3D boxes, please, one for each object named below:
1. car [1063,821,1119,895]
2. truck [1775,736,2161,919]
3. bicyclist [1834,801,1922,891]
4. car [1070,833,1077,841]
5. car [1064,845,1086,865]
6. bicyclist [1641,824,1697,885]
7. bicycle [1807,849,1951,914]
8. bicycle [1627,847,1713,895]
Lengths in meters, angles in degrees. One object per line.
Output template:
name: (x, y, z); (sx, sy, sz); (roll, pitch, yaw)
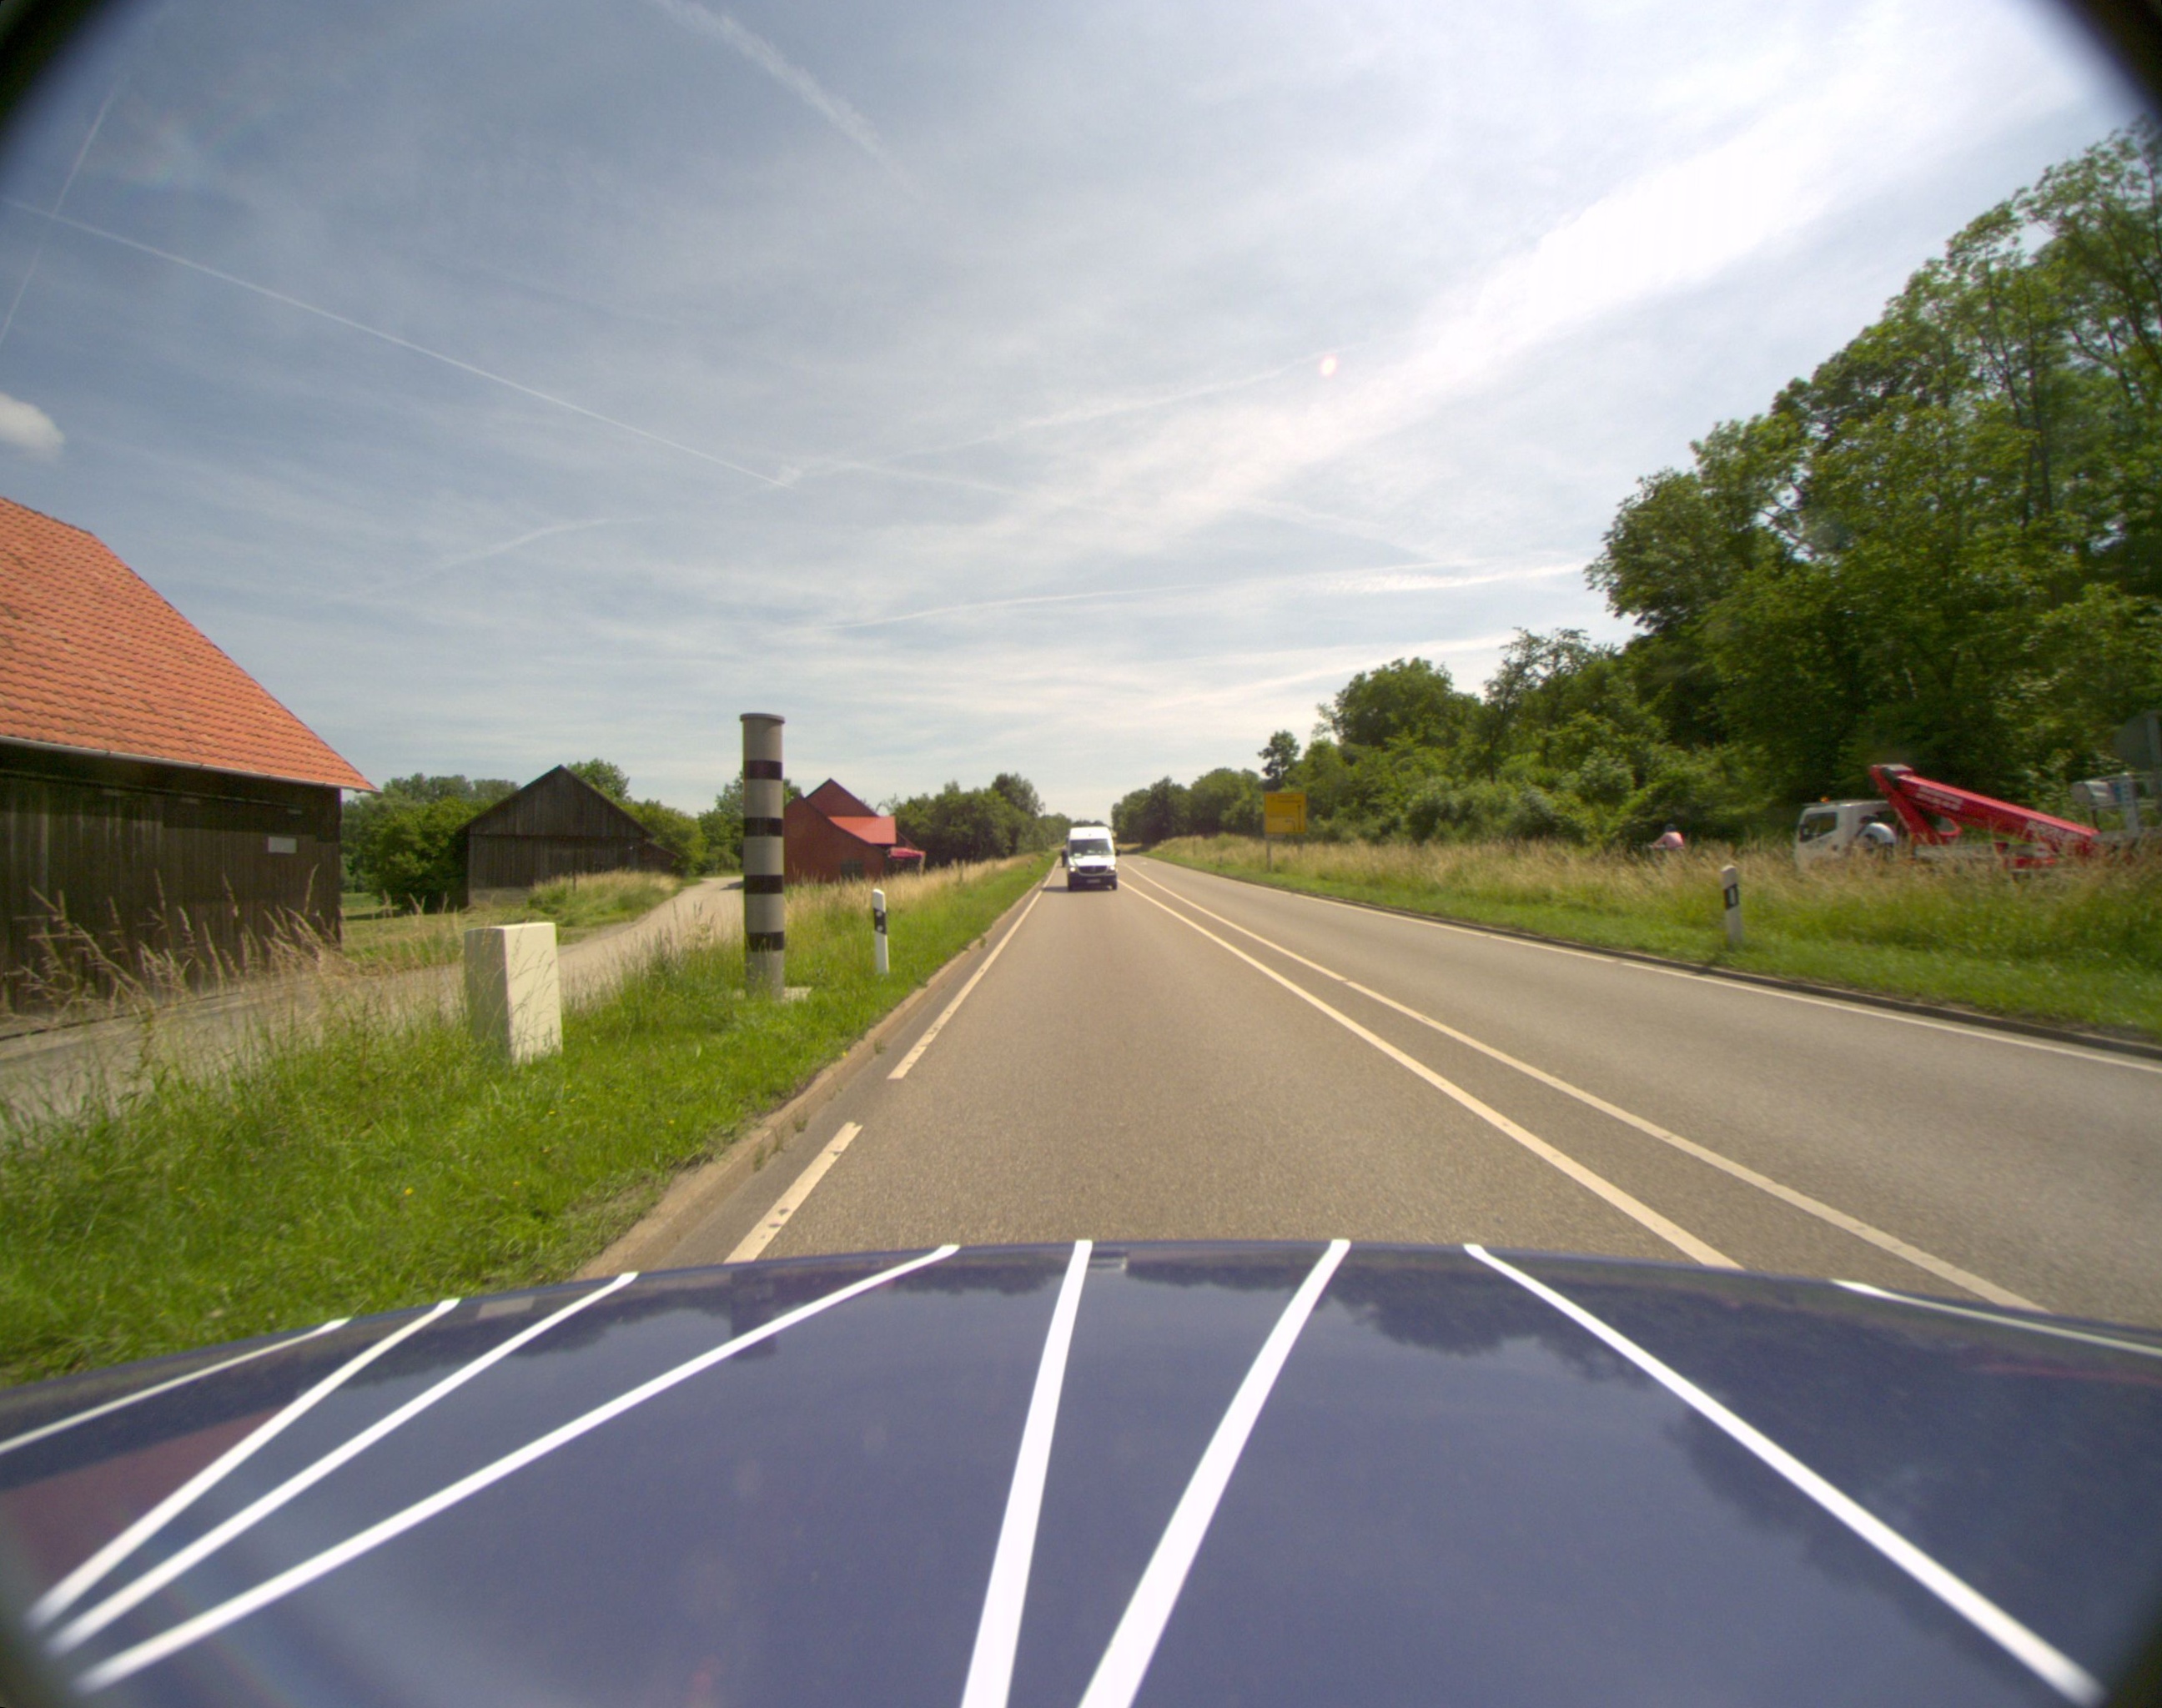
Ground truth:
car: (0.450, 0.132, 30.923); (1.960, 2.655, 5.680); (-3, 1, 2)
truck: (18.354, -0.497, 15.673); (2.031, 2.946, 6.774); (-3, 1, 3)
bicyclist: (15.898, -0.152, 15.185); (0.749, 1.704, 0.936); (-3, 1, 4)
car: (-2.382, -5.233, 235.760); (1.998, 2.166, 4.001); (-2, 0, 2)
car: (-0.517, 0.129, 71.269); (1.848, 1.691, 4.244); (-1, -1, 2)
bicyclist: (15.946, 0.011, 20.631); (0.750, 1.586, 0.936); (-3, 1, 2)
bicycle: (15.931, 0.504, 15.261); (0.750, 1.174, 2.105); (-3, 1, 4)
bicycle: (15.961, 0.437, 20.667); (0.750, 1.205, 2.105); (-3, 1, 2)
